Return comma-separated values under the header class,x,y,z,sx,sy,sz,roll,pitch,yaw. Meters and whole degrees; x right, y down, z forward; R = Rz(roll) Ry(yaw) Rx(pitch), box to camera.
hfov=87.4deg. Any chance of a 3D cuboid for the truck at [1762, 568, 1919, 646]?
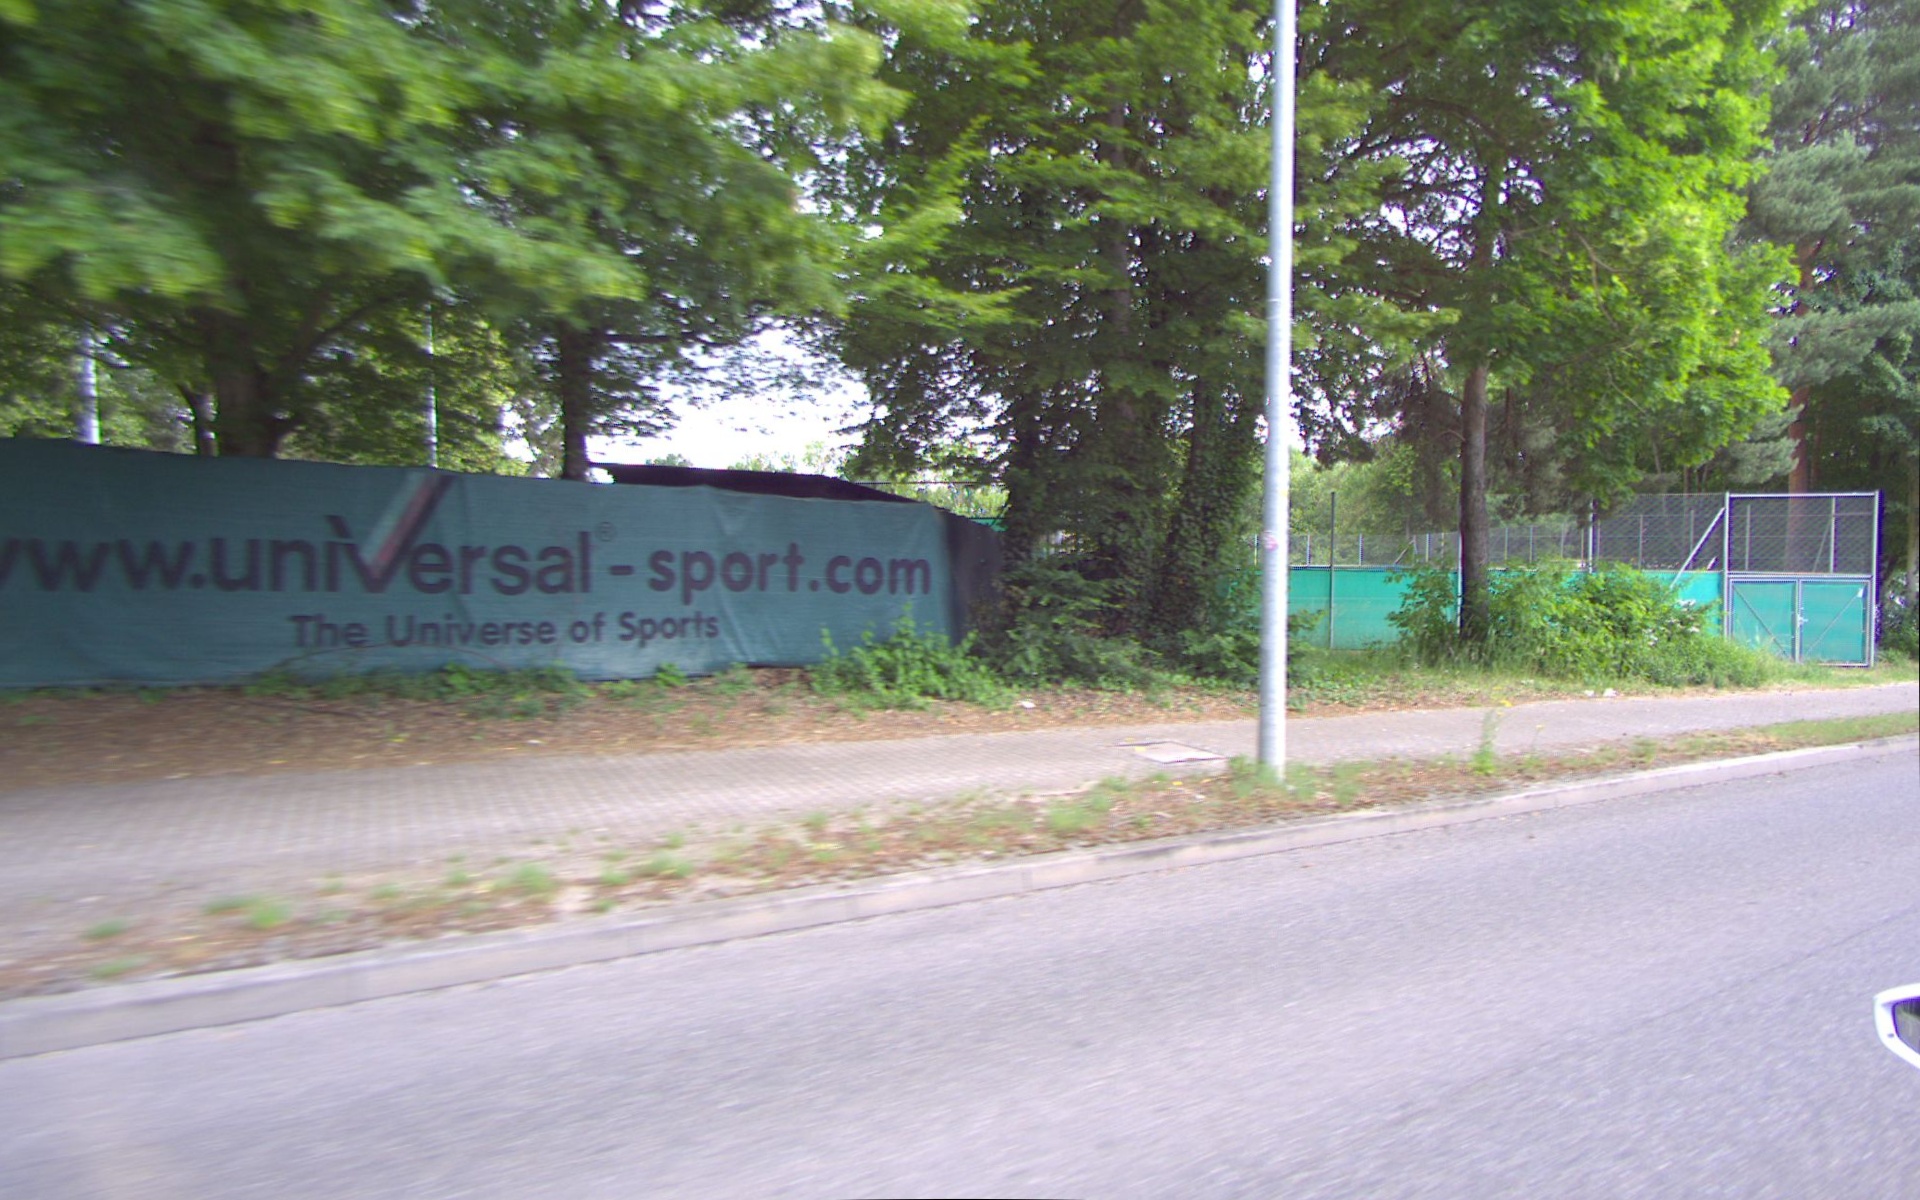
class,x,y,z,sx,sy,sz,roll,pitch,yaw
truck,44.504,0.327,48.237,9.128,3.578,2.551,2,1,43
